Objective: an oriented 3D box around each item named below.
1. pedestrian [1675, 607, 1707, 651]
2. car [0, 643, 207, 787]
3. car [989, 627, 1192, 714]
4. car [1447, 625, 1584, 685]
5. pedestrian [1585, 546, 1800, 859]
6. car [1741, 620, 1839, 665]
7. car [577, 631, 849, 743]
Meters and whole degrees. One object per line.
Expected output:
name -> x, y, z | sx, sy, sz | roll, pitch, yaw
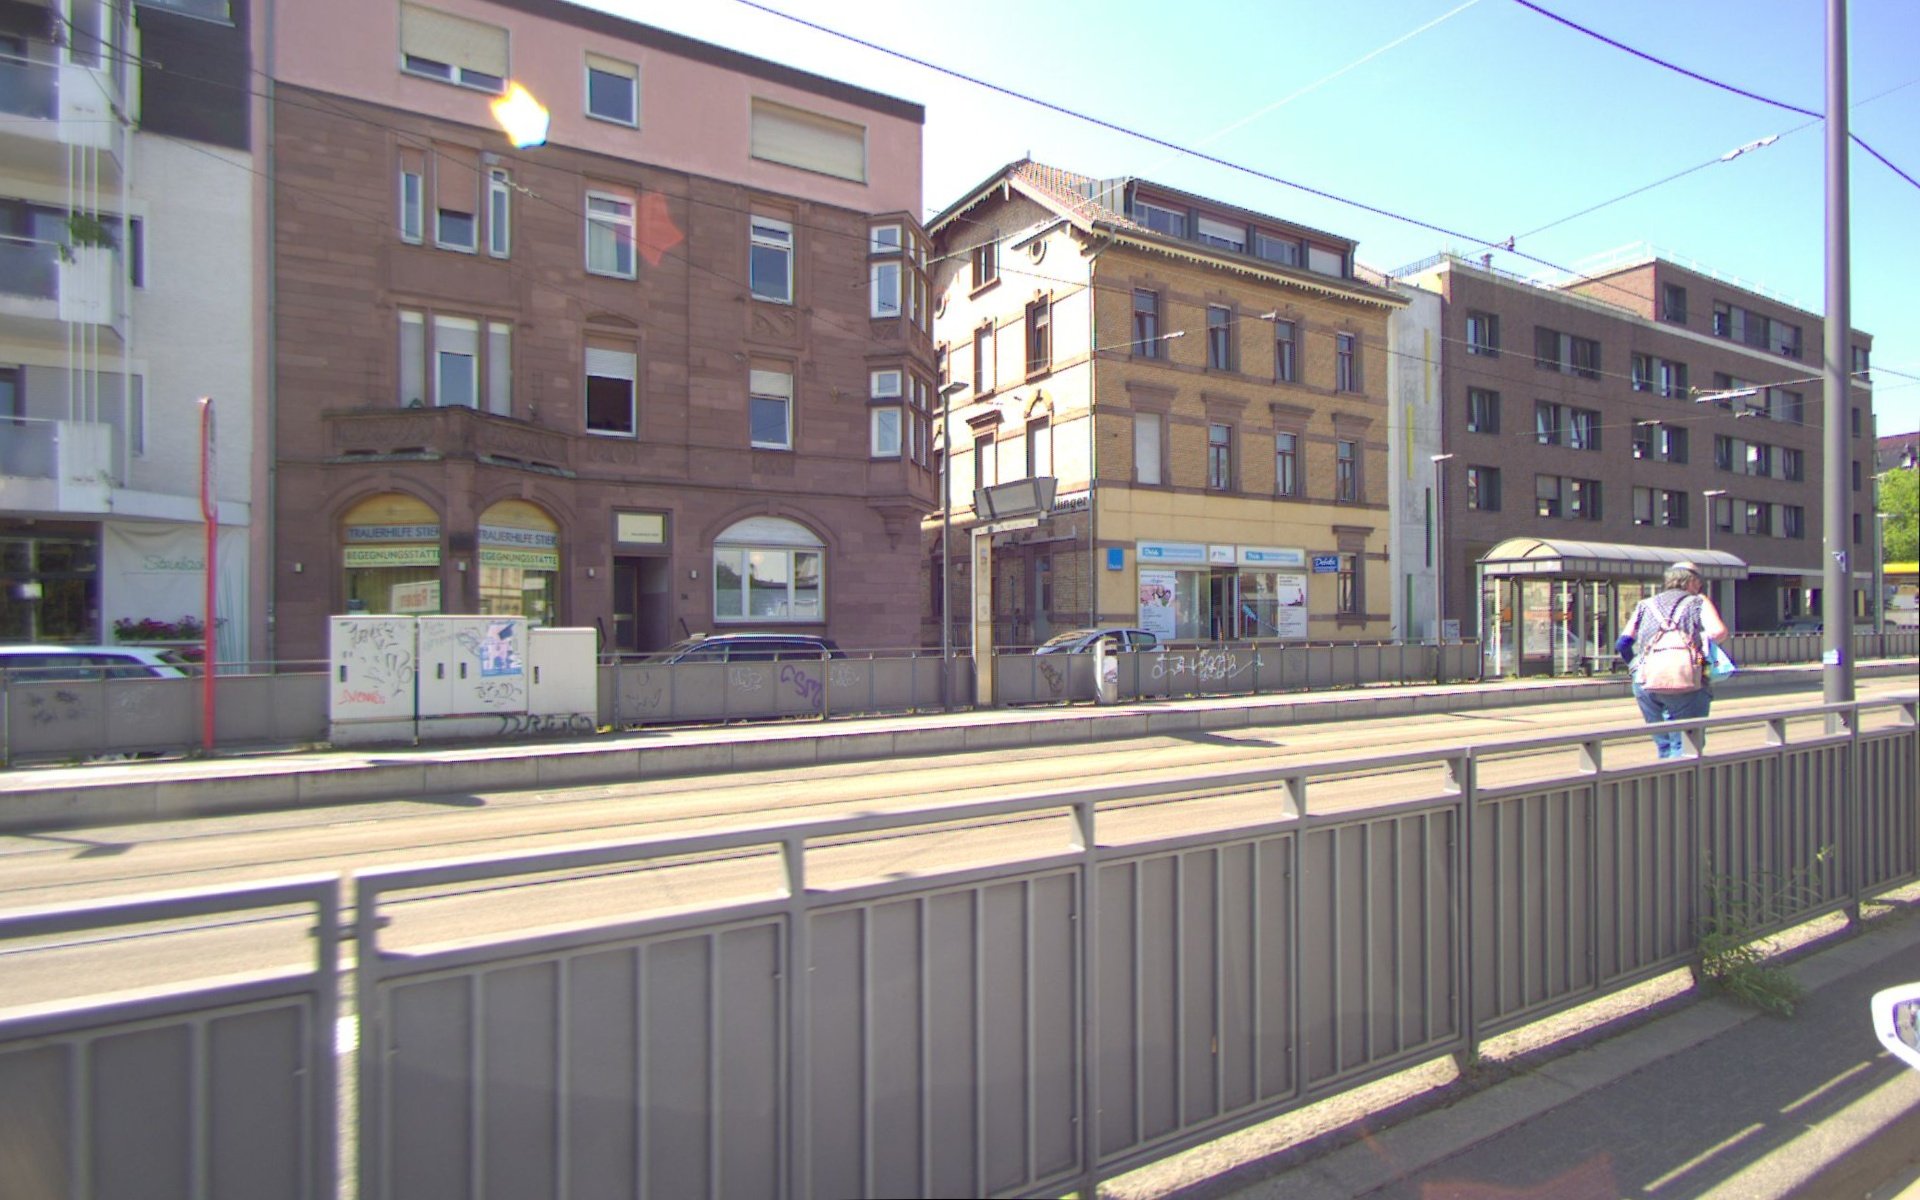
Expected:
pedestrian -> 30.677, 1.220, 42.168 | 0.953, 1.814, 0.721 | 0, -2, -30
car -> -10.887, 1.255, 11.124 | 3.919, 1.450, 1.617 | 1, 0, -32
car -> 2.522, 1.279, 19.145 | 3.696, 1.478, 1.564 | 0, -2, -32
car -> 15.162, 1.456, 27.371 | 3.891, 1.478, 1.564 | 0, -2, -32
pedestrian -> 4.686, 0.610, 6.448 | 0.823, 1.833, 0.823 | 0, -1, -30
car -> 29.302, 1.479, 35.426 | 3.696, 1.478, 1.564 | 0, -2, -32
car -> -3.745, 1.241, 15.425 | 3.774, 1.478, 1.563 | 0, -2, -34
